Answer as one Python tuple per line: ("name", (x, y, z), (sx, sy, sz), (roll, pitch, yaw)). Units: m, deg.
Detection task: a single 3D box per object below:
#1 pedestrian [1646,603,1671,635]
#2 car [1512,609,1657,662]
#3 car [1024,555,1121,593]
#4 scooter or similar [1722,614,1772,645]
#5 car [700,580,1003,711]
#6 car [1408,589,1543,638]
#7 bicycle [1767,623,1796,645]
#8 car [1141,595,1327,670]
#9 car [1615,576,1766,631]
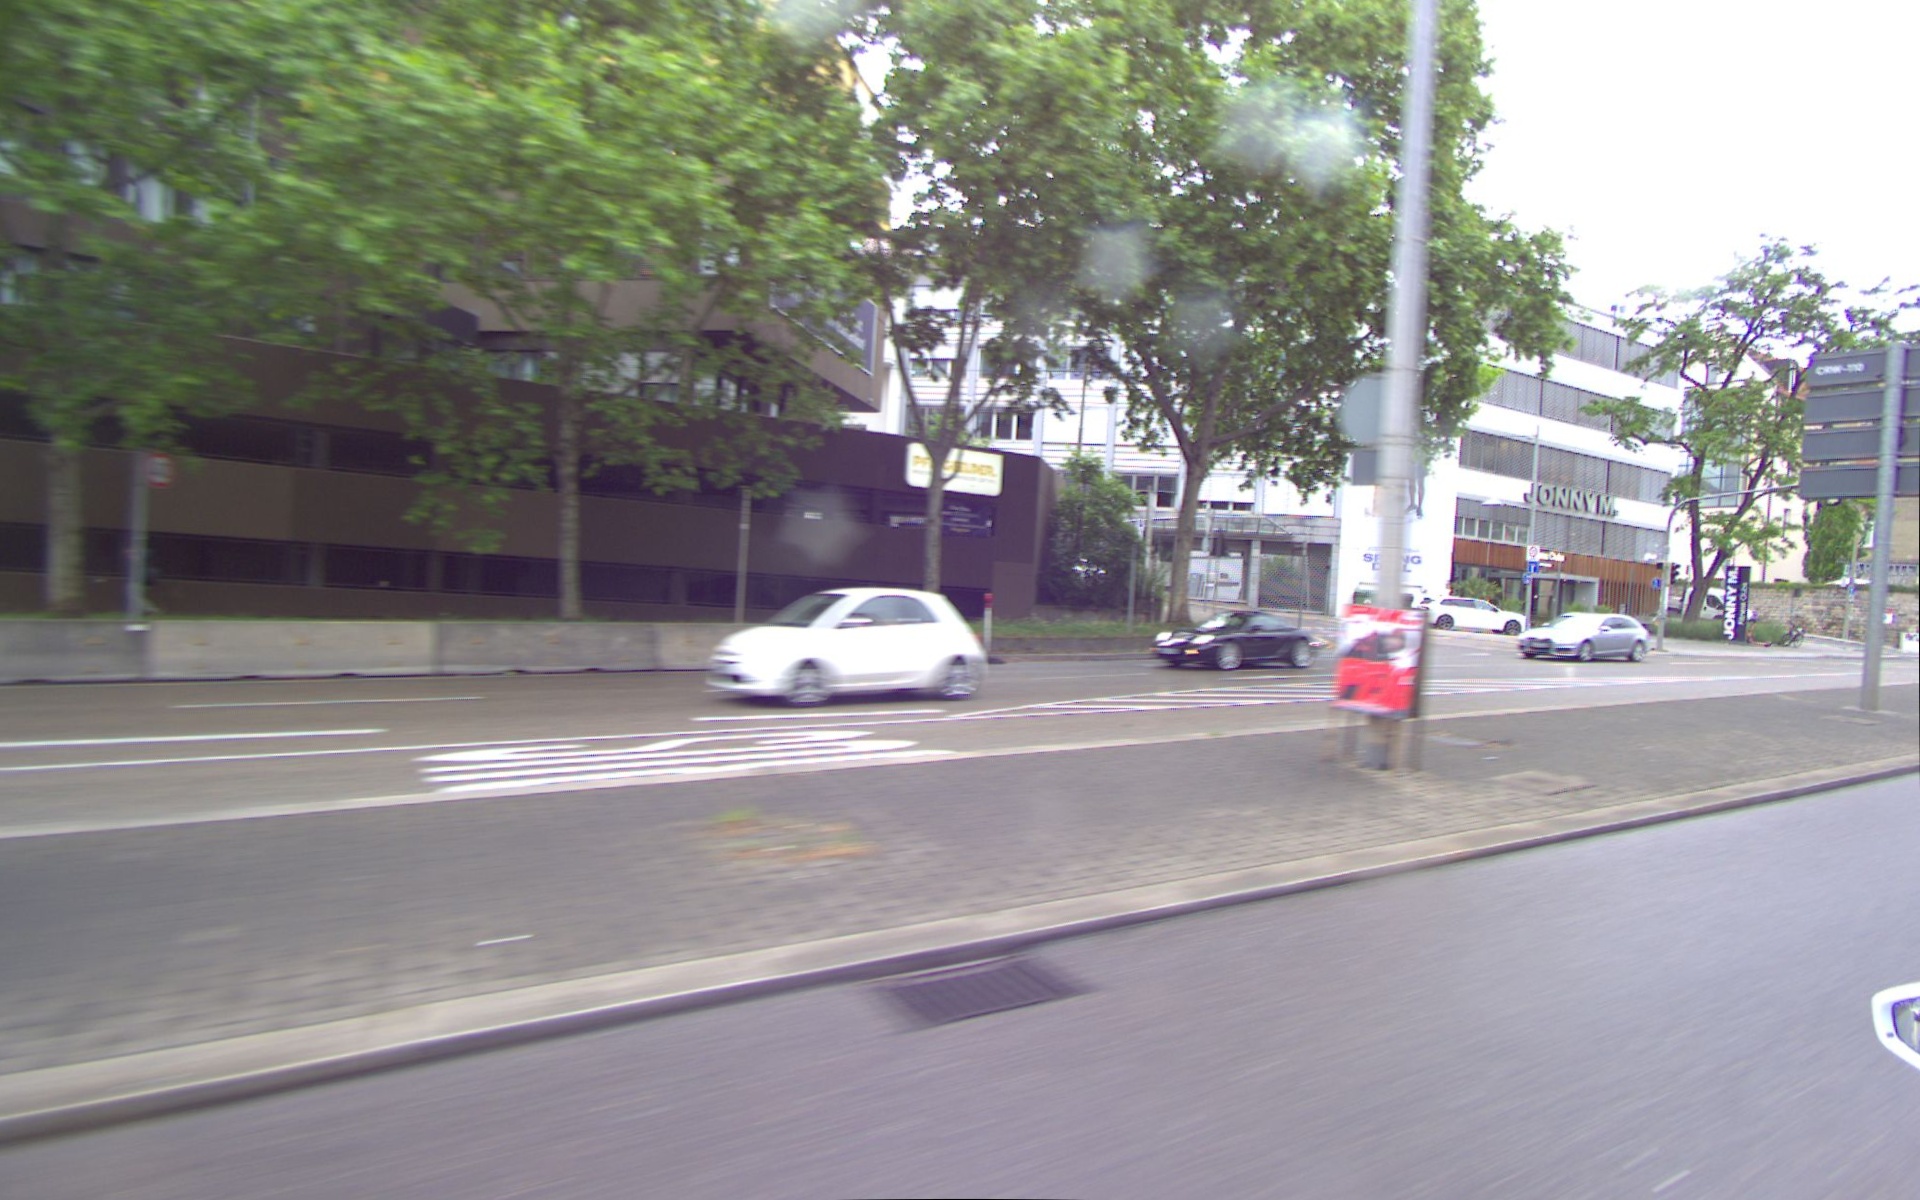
("pedestrian", (36.832, 1.006, 52.995), (0.831, 1.663, 0.765), (1, 0, -29))
("car", (19.038, 1.053, 30.561), (4.831, 1.466, 1.981), (1, 0, -34))
("car", (5.515, -1.267, 48.870), (4.397, 1.485, 2.001), (5, 2, 13))
("scooter or similar", (37.315, 1.395, 47.660), (1.725, 1.263, 0.369), (6, 3, 33))
("car", (-1.406, 0.560, 13.602), (3.705, 1.539, 1.742), (1, 0, -36))
("car", (22.389, 0.548, 43.831), (4.746, 1.676, 2.001), (5, 2, 10))
("bicycle", (40.790, 1.697, 49.859), (1.737, 1.004, 0.454), (2, 1, -29))
("car", (6.249, 0.717, 22.818), (4.124, 1.539, 1.744), (1, 0, -32))
("car", (43.899, 0.105, 60.628), (2.481, 2.307, 6.874), (-1, 9, -27))
